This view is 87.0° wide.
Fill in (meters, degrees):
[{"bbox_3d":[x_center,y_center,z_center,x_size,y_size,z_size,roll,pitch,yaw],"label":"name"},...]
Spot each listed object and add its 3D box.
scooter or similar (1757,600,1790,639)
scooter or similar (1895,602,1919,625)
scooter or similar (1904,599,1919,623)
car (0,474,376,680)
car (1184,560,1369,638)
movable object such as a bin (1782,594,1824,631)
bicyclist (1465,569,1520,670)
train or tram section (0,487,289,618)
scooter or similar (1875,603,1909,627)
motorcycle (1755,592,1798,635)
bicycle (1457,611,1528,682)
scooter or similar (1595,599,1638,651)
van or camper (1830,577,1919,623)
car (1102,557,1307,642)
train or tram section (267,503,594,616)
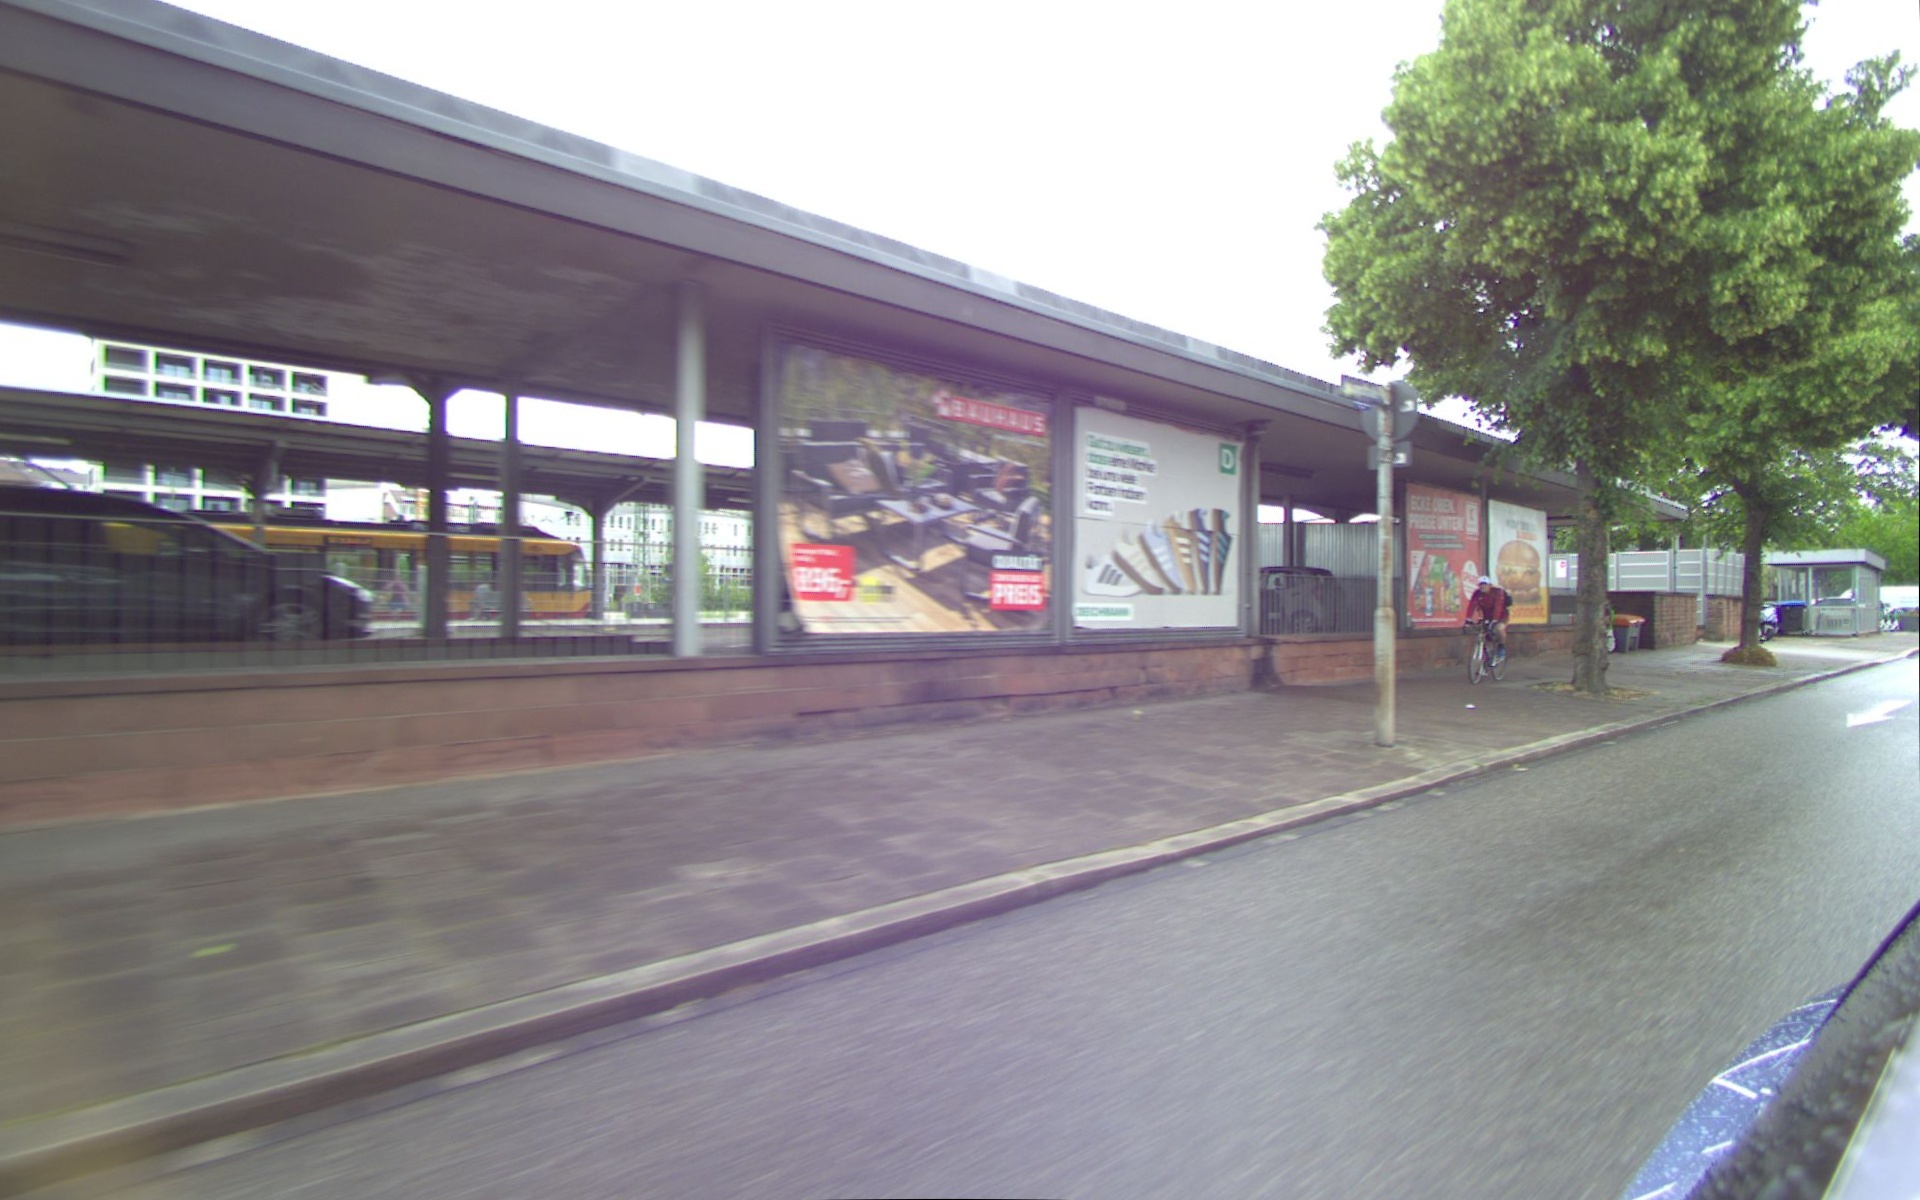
[{"bbox_3d":[25.220,0.585,31.400,0.490,1.167,1.698,1,1,29],"label":"scooter or similar"},{"bbox_3d":[47.863,0.672,50.997,1.237,1.170,0.415,0,-2,-10],"label":"scooter or similar"},{"bbox_3d":[47.940,0.556,50.562,1.237,1.169,0.415,1,1,-10],"label":"scooter or similar"},{"bbox_3d":[-8.894,-0.226,10.593,4.520,1.895,1.996,0,1,-43],"label":"car"},{"bbox_3d":[6.900,-0.069,22.364,1.714,1.562,3.570,1,1,-36],"label":"car"},{"bbox_3d":[31.516,0.460,37.826,1.295,1.355,1.035,1,0,-43],"label":"movable object such as a bin"},{"bbox_3d":[8.437,0.295,16.031,0.683,1.557,0.534,0,2,-44],"label":"bicyclist"},{"bbox_3d":[-24.017,-1.237,27.830,8.978,3.323,2.658,0,1,-43],"label":"train or tram section"},{"bbox_3d":[47.058,0.761,51.088,1.638,1.170,1.066,-1,0,-41],"label":"scooter or similar"},{"bbox_3d":[26.660,0.422,33.029,2.416,1.365,0.792,0,0,-44],"label":"motorcycle"},{"bbox_3d":[8.451,0.710,16.027,1.649,1.029,0.447,0,3,-44],"label":"bicycle"},{"bbox_3d":[15.289,0.560,23.557,1.520,1.167,0.493,0,1,-44],"label":"scooter or similar"},{"bbox_3d":[60.943,0.018,65.574,6.447,2.905,2.266,1,0,19],"label":"van or camper"},{"bbox_3d":[4.870,-0.066,20.462,1.717,1.562,3.687,0,2,-42],"label":"car"},{"bbox_3d":[-17.368,-1.258,33.862,9.358,3.323,2.658,0,2,-43],"label":"train or tram section"}]
